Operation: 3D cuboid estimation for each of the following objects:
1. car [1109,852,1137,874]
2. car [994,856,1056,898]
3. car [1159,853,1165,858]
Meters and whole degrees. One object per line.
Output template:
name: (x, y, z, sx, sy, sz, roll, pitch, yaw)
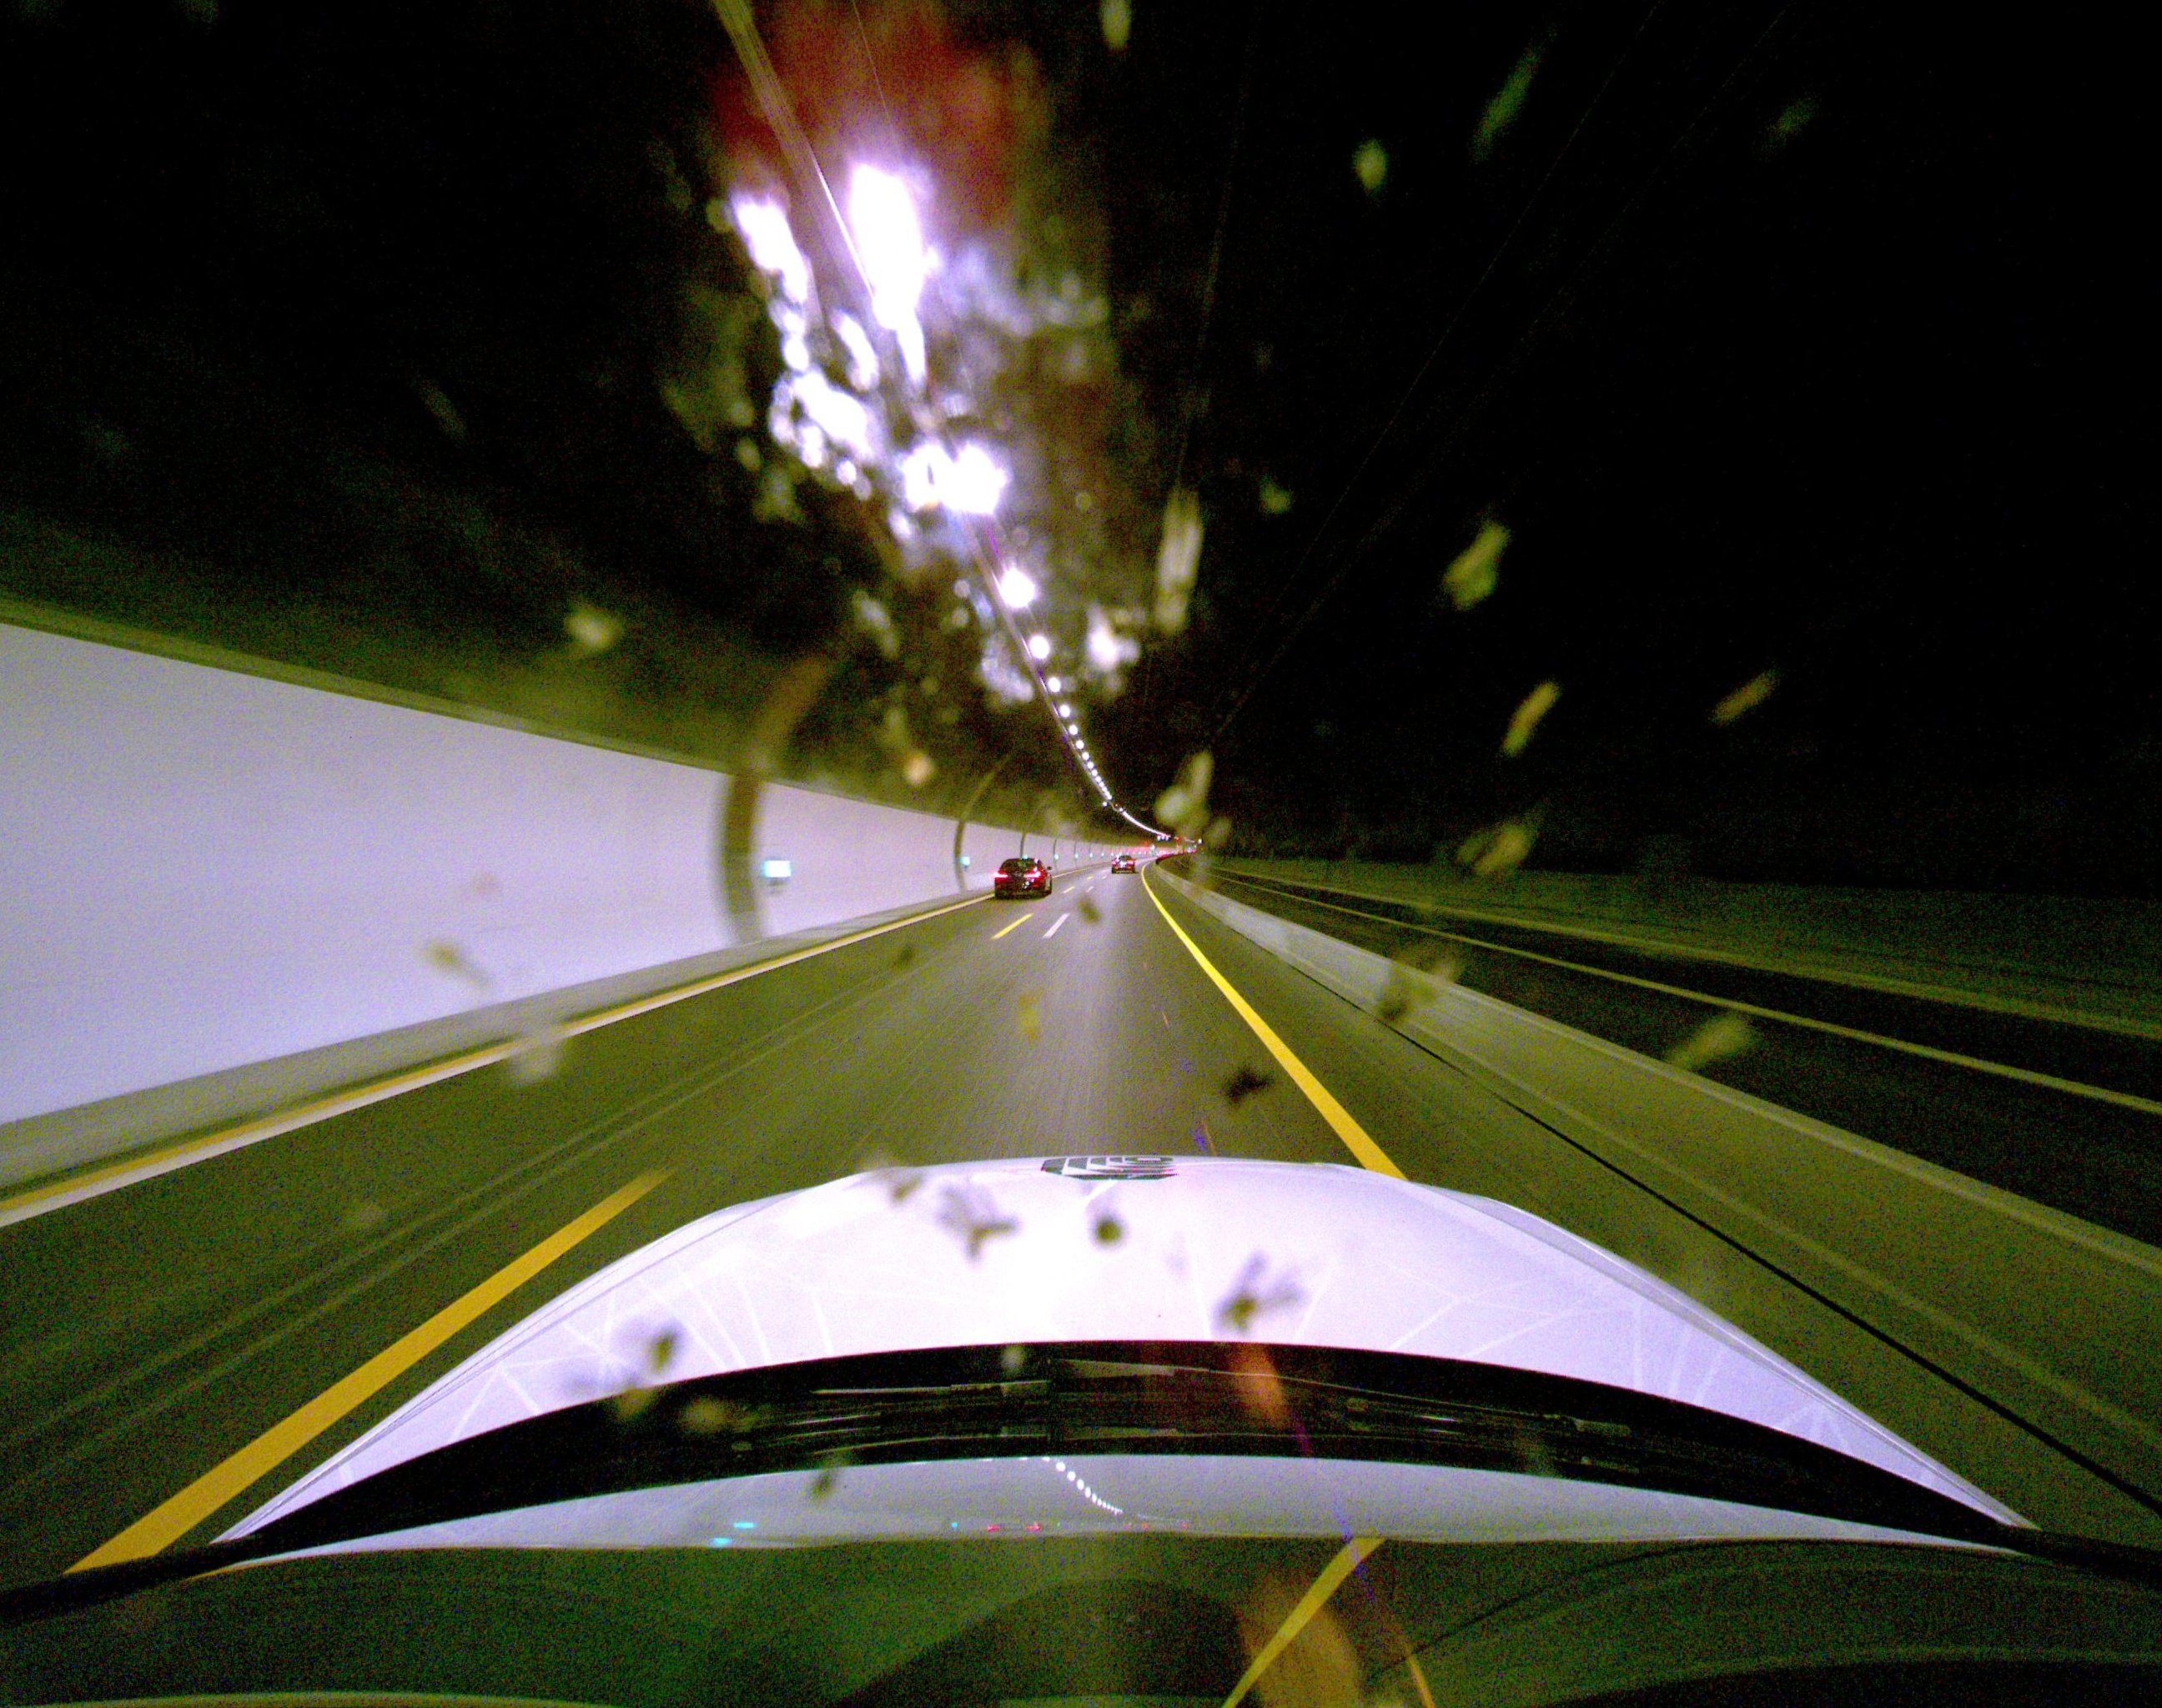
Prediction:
car: (3.371, 0.708, 65.120, 2.132, 1.706, 4.004, -1, 0, 3)
car: (-2.050, 0.823, 30.951, 1.771, 1.438, 4.886, 0, 0, 3)
car: (22.260, 0.500, 222.947, 1.587, 1.333, 3.757, -1, 0, 7)
